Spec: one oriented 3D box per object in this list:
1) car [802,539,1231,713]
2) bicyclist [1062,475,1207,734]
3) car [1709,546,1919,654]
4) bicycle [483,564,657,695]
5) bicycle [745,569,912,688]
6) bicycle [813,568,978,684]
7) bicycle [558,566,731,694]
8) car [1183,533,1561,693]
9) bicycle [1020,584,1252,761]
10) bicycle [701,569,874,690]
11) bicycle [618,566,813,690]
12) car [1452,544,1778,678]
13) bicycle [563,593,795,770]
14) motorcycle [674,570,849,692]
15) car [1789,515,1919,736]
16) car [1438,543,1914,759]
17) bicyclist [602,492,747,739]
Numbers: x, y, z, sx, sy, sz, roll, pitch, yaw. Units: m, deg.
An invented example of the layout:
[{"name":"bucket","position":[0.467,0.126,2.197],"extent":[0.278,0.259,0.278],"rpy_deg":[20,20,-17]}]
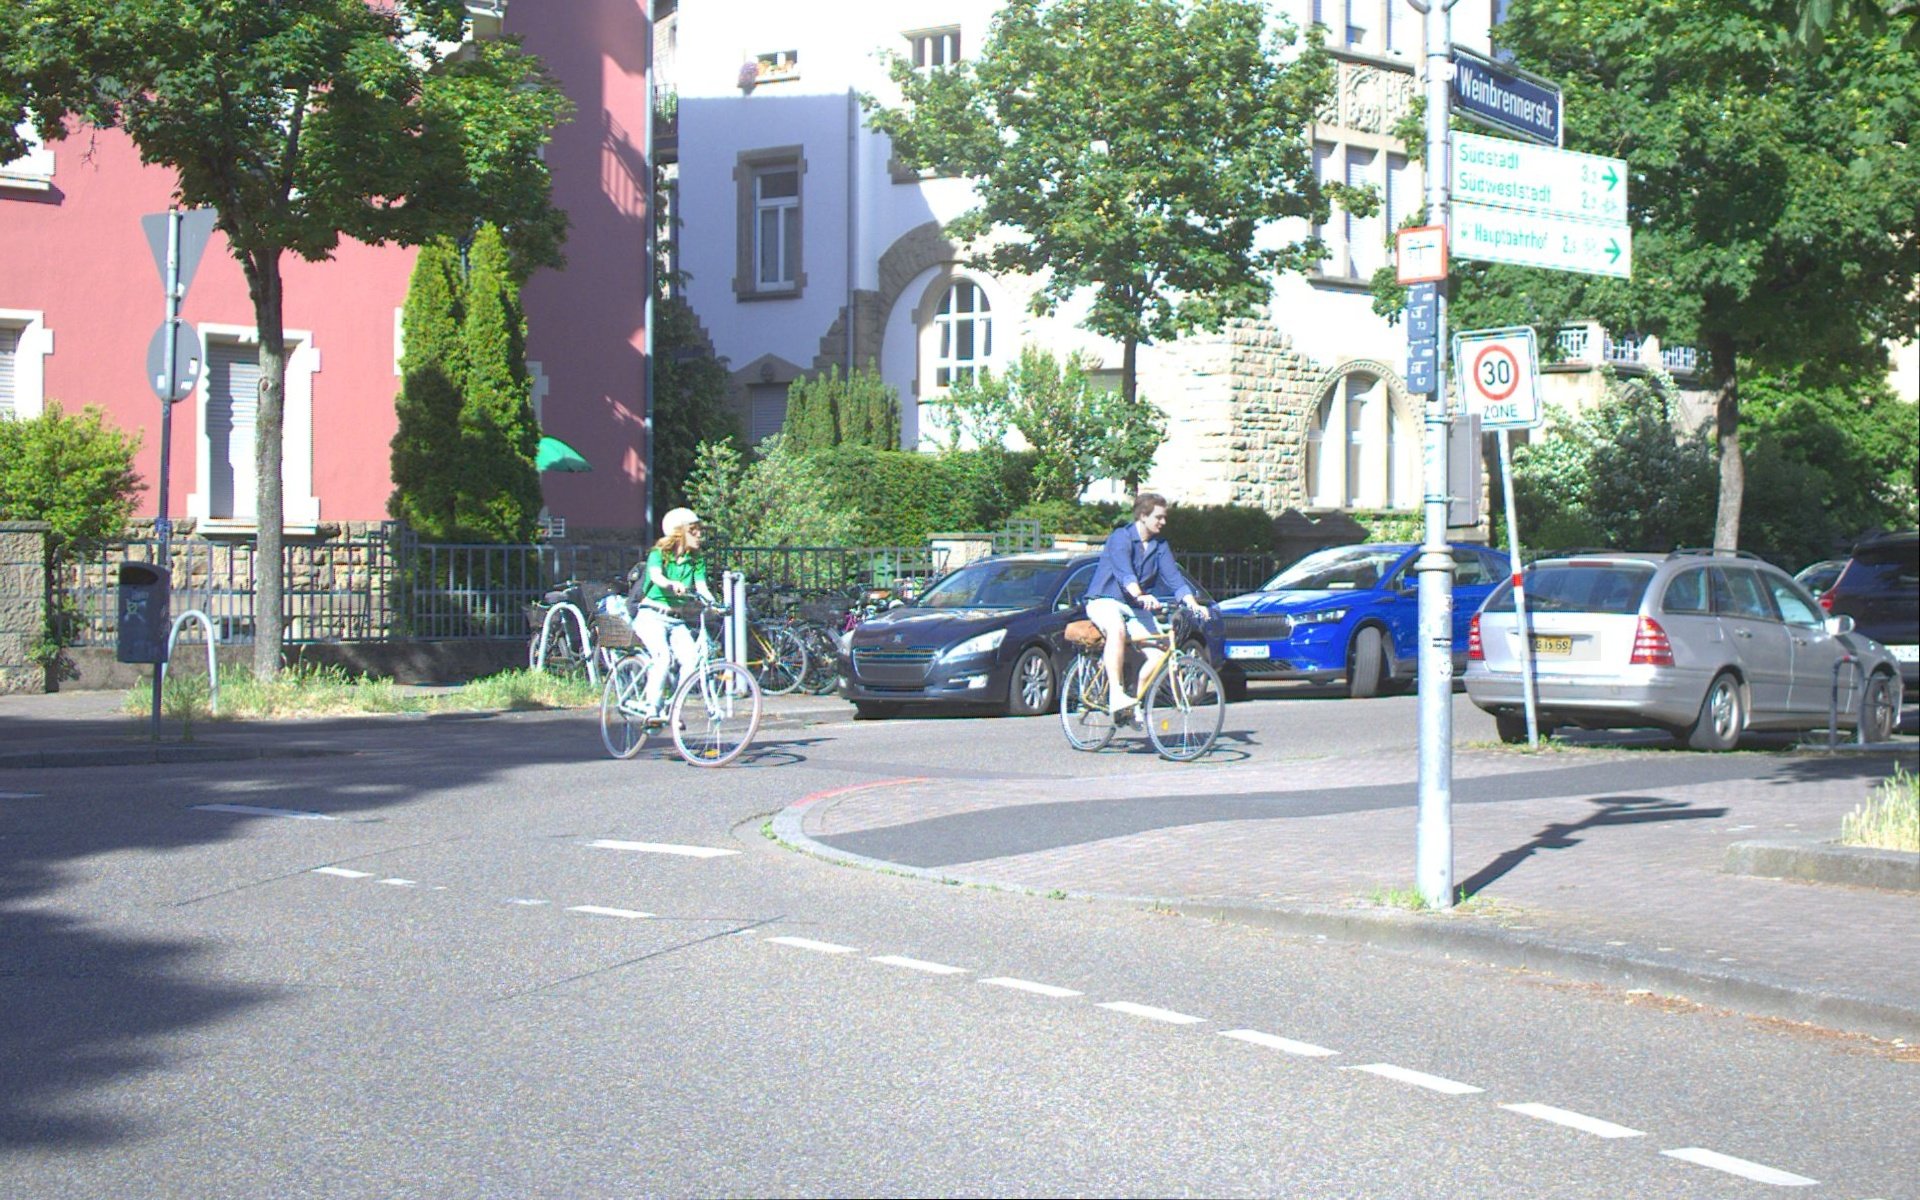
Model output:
[{"name":"car","position":[0.601,0.215,31.731],"extent":[1.807,1.478,4.330],"rpy_deg":[-2,-1,35]},{"name":"bicyclist","position":[1.177,0.018,23.219],"extent":[0.644,1.708,0.723],"rpy_deg":[0,2,-34]},{"name":"car","position":[12.274,-0.023,47.741],"extent":[1.808,1.392,4.389],"rpy_deg":[-2,-1,40]},{"name":"bicycle","position":[-3.613,0.258,31.733],"extent":[1.725,1.111,0.545],"rpy_deg":[3,3,40]},{"name":"bicycle","position":[-1.334,0.273,34.559],"extent":[1.725,1.103,0.500],"rpy_deg":[3,2,37]},{"name":"bicycle","position":[-0.669,0.252,35.277],"extent":[1.725,1.103,0.515],"rpy_deg":[3,2,37]},{"name":"bicycle","position":[-2.985,0.269,32.428],"extent":[1.725,1.111,0.545],"rpy_deg":[3,3,40]},{"name":"car","position":[4.381,0.110,36.075],"extent":[1.808,1.556,4.389],"rpy_deg":[-2,-1,40]},{"name":"bicycle","position":[1.173,0.467,23.229],"extent":[0.644,1.104,1.717],"rpy_deg":[0,2,-34]},{"name":"bicycle","position":[-1.715,0.281,34.082],"extent":[1.724,1.103,0.500],"rpy_deg":[3,2,33]},{"name":"bicycle","position":[-2.356,0.263,33.050],"extent":[1.826,1.103,0.500],"rpy_deg":[2,2,25]},{"name":"car","position":[7.690,0.103,40.098],"extent":[1.808,1.446,4.389],"rpy_deg":[-2,-1,40]},{"name":"bicycle","position":[-1.851,0.511,22.416],"extent":[0.594,1.104,1.863],"rpy_deg":[-1,0,-37]},{"name":"motorcycle","position":[-1.944,0.288,33.595],"extent":[1.724,1.103,0.500],"rpy_deg":[3,2,33]},{"name":"car","position":[8.664,0.184,28.847],"extent":[1.807,1.722,4.330],"rpy_deg":[2,1,35]},{"name":"car","position":[5.329,0.314,25.168],"extent":[1.807,1.411,4.330],"rpy_deg":[2,1,35]},{"name":"bicyclist","position":[-1.865,0.096,22.446],"extent":[0.594,1.576,0.804],"rpy_deg":[-1,0,-37]}]
